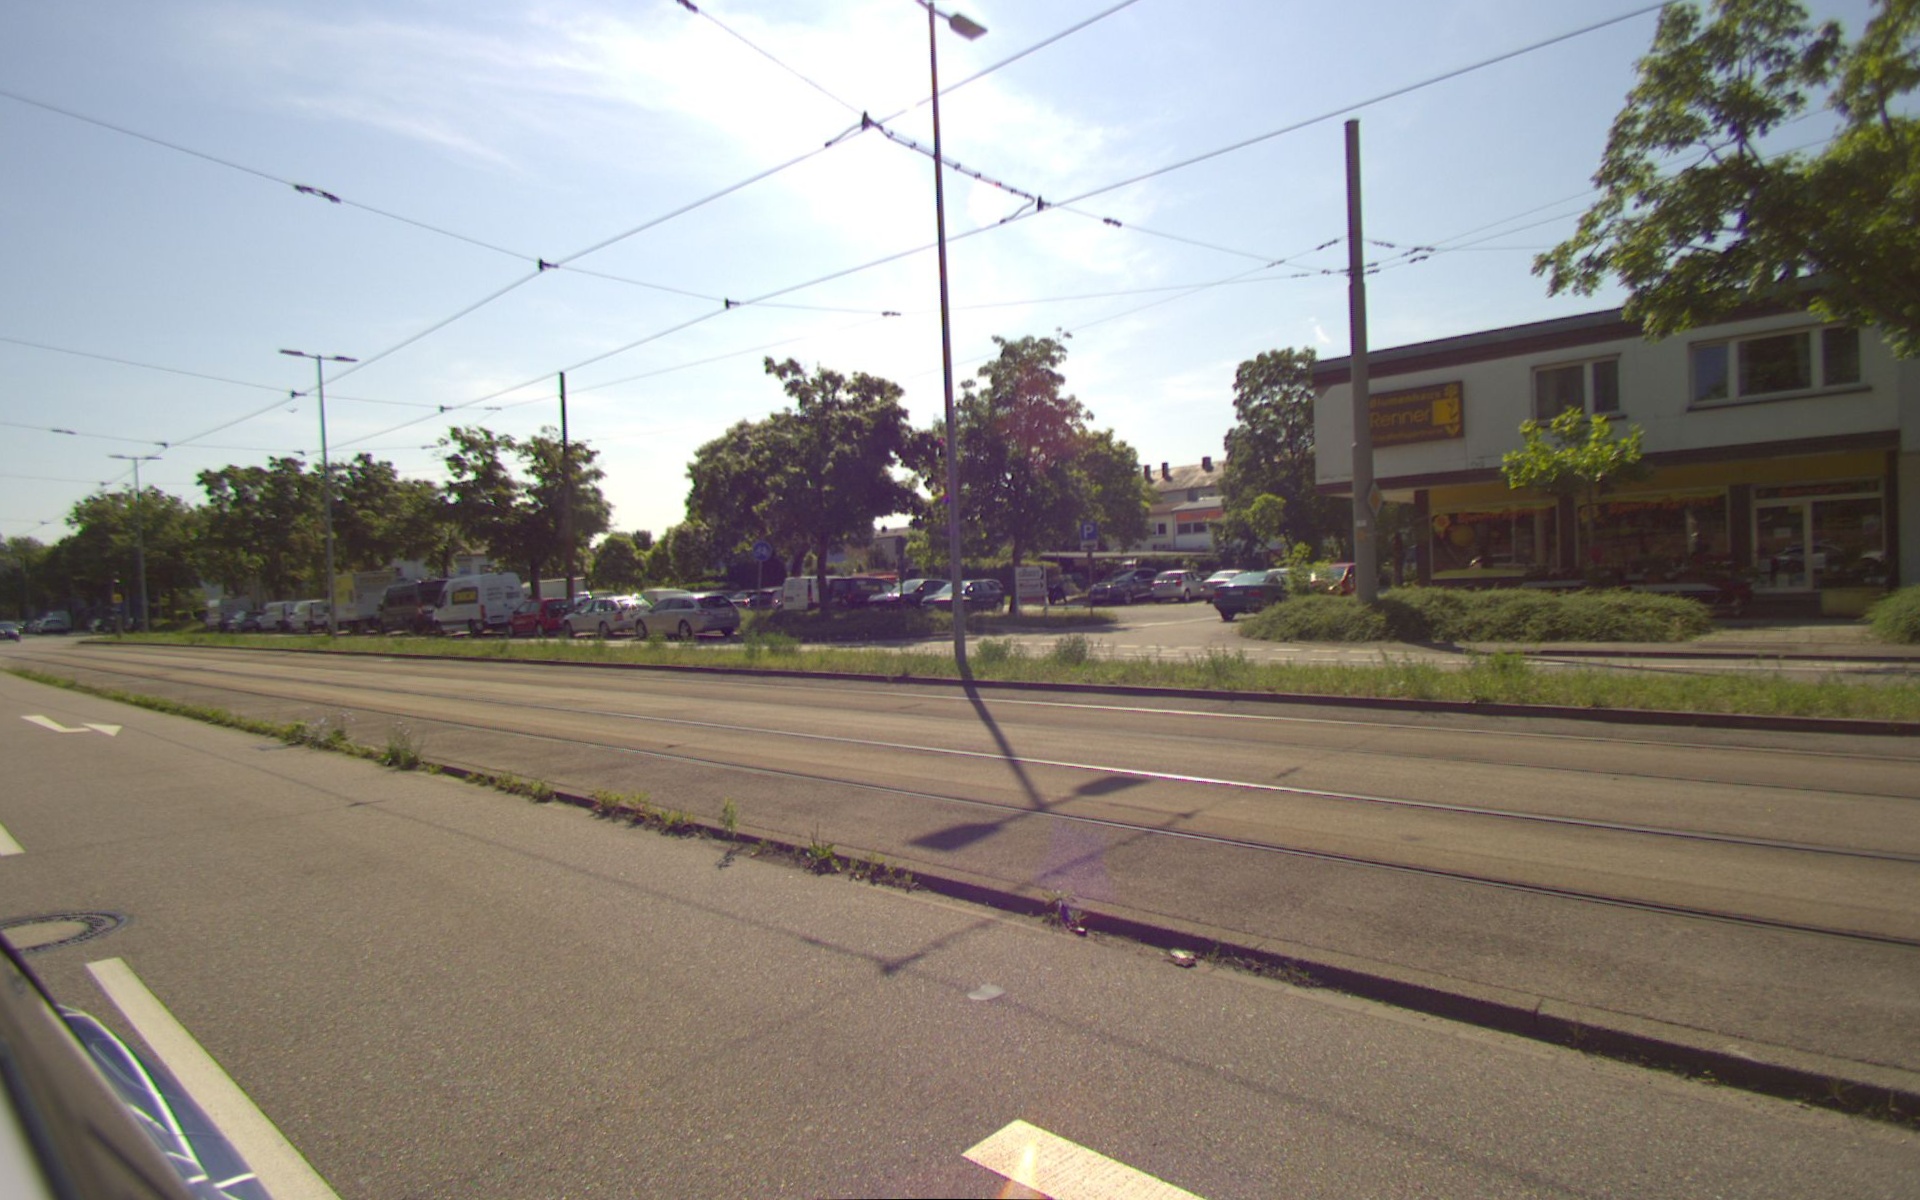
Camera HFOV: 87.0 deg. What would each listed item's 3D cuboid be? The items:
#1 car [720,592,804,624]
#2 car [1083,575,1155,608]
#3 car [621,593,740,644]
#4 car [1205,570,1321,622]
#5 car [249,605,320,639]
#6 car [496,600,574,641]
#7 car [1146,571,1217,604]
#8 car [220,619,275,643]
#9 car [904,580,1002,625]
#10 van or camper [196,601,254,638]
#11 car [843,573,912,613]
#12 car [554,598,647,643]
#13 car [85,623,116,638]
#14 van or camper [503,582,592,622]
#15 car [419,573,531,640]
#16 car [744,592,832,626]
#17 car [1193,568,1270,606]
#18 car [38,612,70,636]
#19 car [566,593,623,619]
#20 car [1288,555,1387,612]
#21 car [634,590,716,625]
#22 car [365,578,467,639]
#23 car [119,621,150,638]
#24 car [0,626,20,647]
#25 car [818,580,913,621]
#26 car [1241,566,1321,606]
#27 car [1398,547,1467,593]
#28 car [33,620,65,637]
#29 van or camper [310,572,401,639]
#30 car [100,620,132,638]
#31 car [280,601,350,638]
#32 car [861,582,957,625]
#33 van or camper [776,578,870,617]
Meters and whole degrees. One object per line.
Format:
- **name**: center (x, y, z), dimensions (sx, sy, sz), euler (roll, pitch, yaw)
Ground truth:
- **car**: center (-9.467, 0.369, 48.654), dimensions (1.487, 1.381, 3.950), euler (-2, 1, 38)
- **car**: center (7.719, -0.449, 48.926), dimensions (1.674, 1.435, 3.934), euler (-2, 1, 38)
- **car**: center (-9.409, 0.628, 33.890), dimensions (4.618, 1.501, 1.587), euler (-2, 3, 43)
- **car**: center (9.094, -0.135, 30.140), dimensions (1.697, 1.354, 4.104), euler (-2, 1, 42)
- **car**: center (-43.378, 1.433, 64.955), dimensions (5.177, 1.955, 2.176), euler (-2, 2, 38)
- **car**: center (-17.094, 0.830, 40.647), dimensions (3.673, 1.501, 1.279), euler (-2, 1, 40)
- **car**: center (10.514, -0.607, 47.836), dimensions (1.674, 1.435, 3.933), euler (-2, 1, 39)
- **car**: center (-48.481, 2.088, 68.850), dimensions (4.883, 1.465, 1.912), euler (-2, 2, 41)
- **car**: center (-0.213, 0.074, 39.423), dimensions (1.662, 1.574, 3.948), euler (-2, 1, 39)
- **van or camper**: center (-53.387, 1.429, 73.441), dimensions (6.147, 2.533, 2.233), euler (-2, 0, 43)
- **car**: center (-4.965, -0.430, 61.027), dimensions (1.908, 2.216, 3.950), euler (-2, 1, 38)
- **car**: center (-13.309, 0.750, 37.333), dimensions (4.349, 1.501, 1.278), euler (-1, 1, 42)
- **car**: center (-88.442, 3.145, 104.142), dimensions (4.453, 1.446, 1.658), euler (-2, 1, 40)
- **van or camper**: center (-36.584, 0.147, 89.887), dimensions (2.579, 3.269, 6.882), euler (-2, 1, 39)
- **car**: center (-21.378, 0.326, 44.479), dimensions (5.977, 2.650, 2.173), euler (-2, 3, 42)
- **car**: center (-7.790, 0.404, 46.069), dimensions (1.487, 1.381, 3.950), euler (-2, 1, 37)
- **car**: center (12.311, -0.601, 45.723), dimensions (1.908, 1.545, 3.949), euler (-2, 1, 38)
- **car**: center (-111.650, 3.006, 124.687), dimensions (6.084, 2.670, 1.991), euler (-2, 4, 42)
- **car**: center (-29.721, 0.485, 82.324), dimensions (1.783, 1.905, 3.950), euler (-2, 1, 38)
- **car**: center (12.792, -0.576, 34.166), dimensions (1.697, 1.748, 4.104), euler (-2, 1, 42)
- **car**: center (-15.219, 0.401, 54.257), dimensions (1.662, 1.707, 3.946), euler (-2, 1, 41)
- **car**: center (-26.311, 0.417, 48.861), dimensions (6.076, 2.688, 2.174), euler (-2, 3, 41)
- **car**: center (-75.602, 2.739, 92.646), dimensions (4.082, 1.461, 1.598), euler (-2, 1, 43)
- **car**: center (-66.733, 2.537, 70.185), dimensions (3.999, 1.342, 1.908), euler (-2, 1, 42)
- **car**: center (-3.961, 0.001, 42.915), dimensions (1.662, 1.574, 3.948), euler (-2, 1, 39)
- **car**: center (13.873, -0.606, 43.624), dimensions (1.909, 1.545, 3.947), euler (-2, 1, 40)
- **car**: center (24.418, -1.552, 52.192), dimensions (2.098, 2.190, 4.882), euler (-2, 1, 38)
- **car**: center (-87.288, 2.736, 96.952), dimensions (4.661, 1.609, 2.020), euler (-2, -1, 44)
- **van or camper**: center (-32.703, 0.351, 54.648), dimensions (6.771, 3.264, 2.173), euler (-2, 3, 43)
- **car**: center (-82.814, 2.874, 99.266), dimensions (4.238, 1.624, 1.658), euler (-2, 0, 40)
- **car**: center (-38.638, 1.160, 60.537), dimensions (5.184, 1.955, 2.173), euler (-2, 3, 43)
- **car**: center (-2.019, 0.118, 41.023), dimensions (1.662, 1.574, 3.948), euler (-2, 1, 39)
- **van or camper**: center (-5.990, -0.123, 44.589), dimensions (1.873, 1.574, 3.952), euler (-2, 1, 36)
